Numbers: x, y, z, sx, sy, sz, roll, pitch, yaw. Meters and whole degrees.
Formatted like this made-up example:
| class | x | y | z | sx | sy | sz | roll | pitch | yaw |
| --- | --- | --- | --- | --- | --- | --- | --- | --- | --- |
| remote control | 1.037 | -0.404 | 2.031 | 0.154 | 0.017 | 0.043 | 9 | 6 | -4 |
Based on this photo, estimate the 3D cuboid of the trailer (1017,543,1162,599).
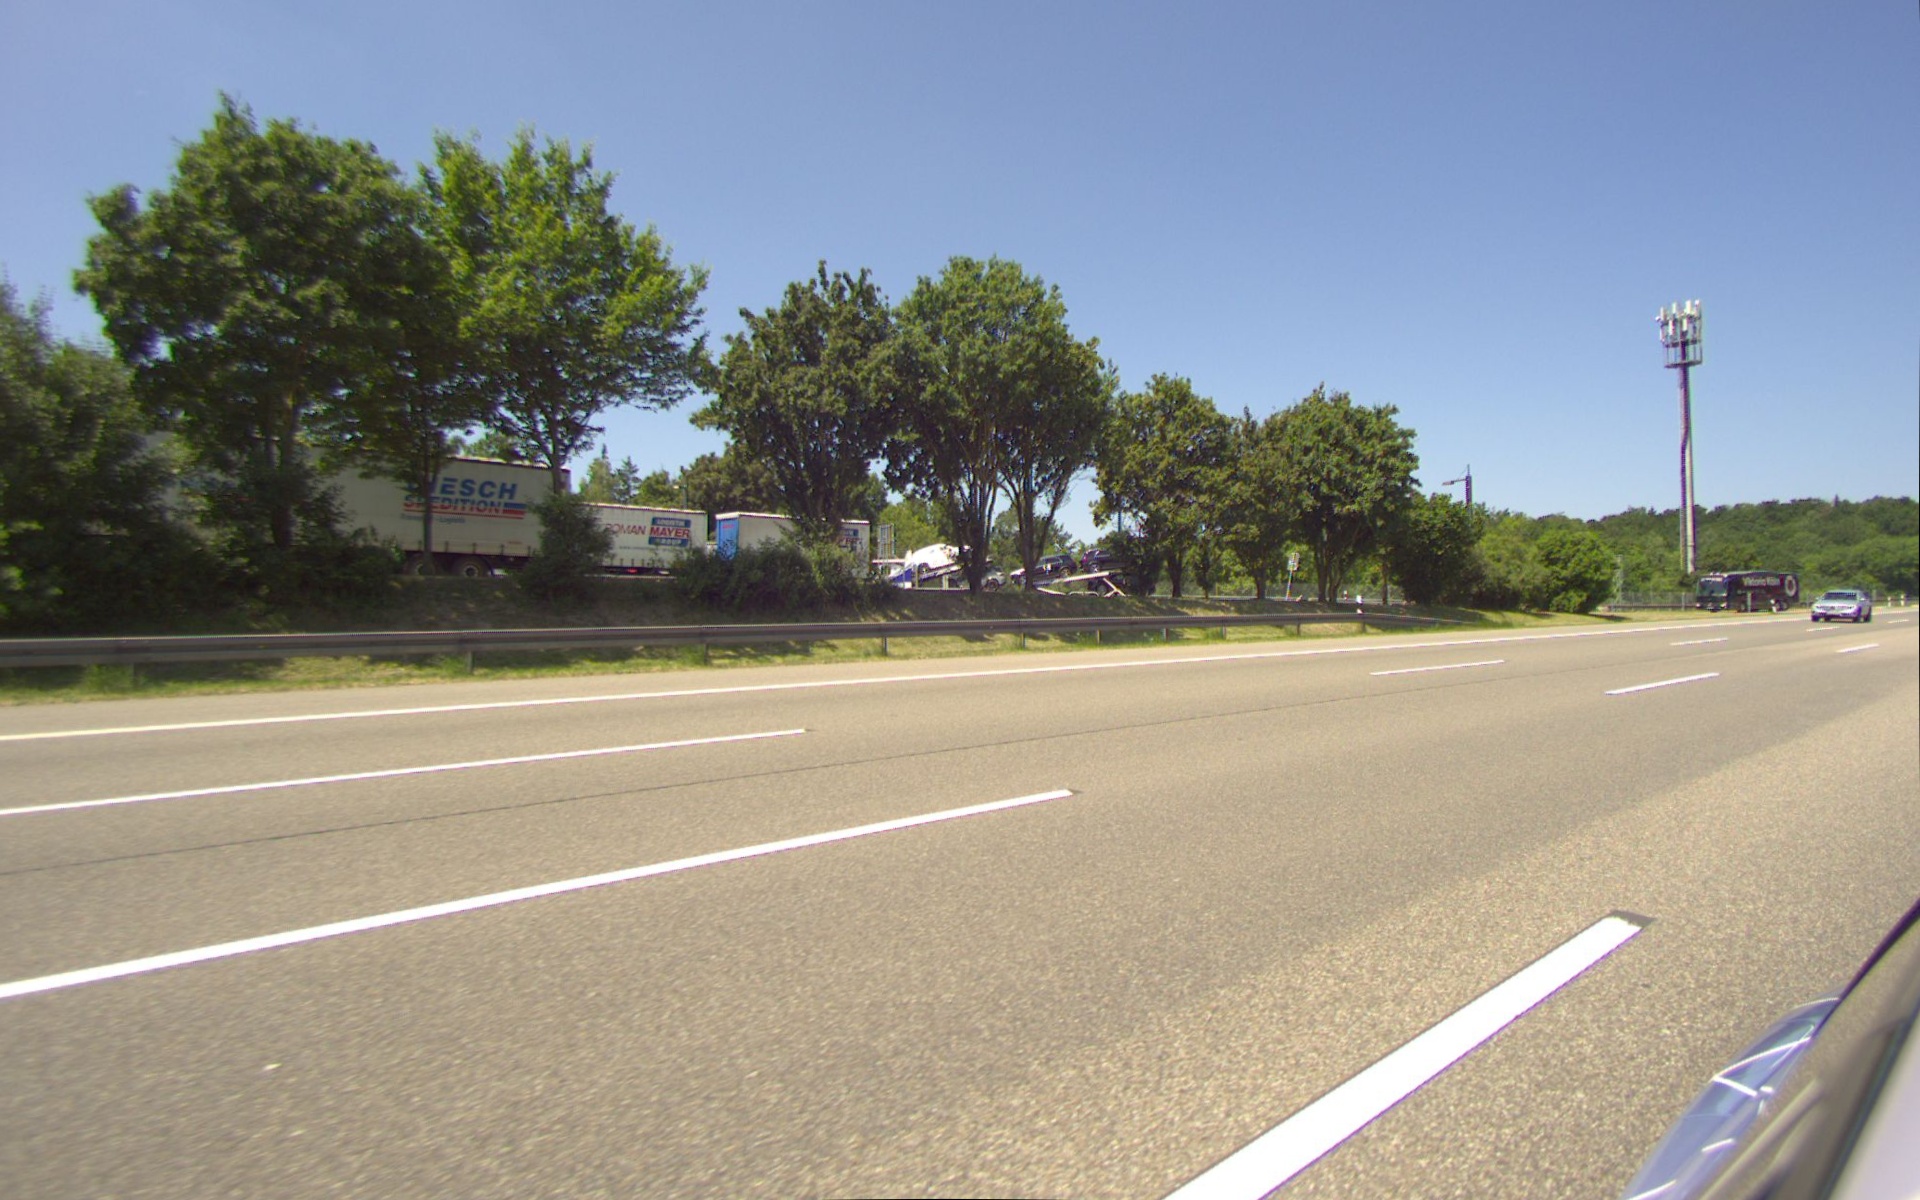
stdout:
| class | x | y | z | sx | sy | sz | roll | pitch | yaw |
| --- | --- | --- | --- | --- | --- | --- | --- | --- | --- |
| trailer | 9.020 | -1.994 | 71.229 | 9.930 | 3.764 | 2.242 | -1 | 0 | 3 |

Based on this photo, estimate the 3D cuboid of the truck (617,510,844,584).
| class | x | y | z | sx | sy | sz | roll | pitch | yaw |
| --- | --- | --- | --- | --- | --- | --- | --- | --- | --- |
| truck | -16.725 | -3.793 | 74.076 | 16.070 | 5.051 | 2.960 | -1 | 0 | 6 |

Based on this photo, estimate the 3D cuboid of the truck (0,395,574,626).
| class | x | y | z | sx | sy | sz | roll | pitch | yaw |
| --- | --- | --- | --- | --- | --- | --- | --- | --- | --- |
| truck | -19.518 | -2.059 | 28.219 | 16.095 | 5.388 | 3.526 | 0 | -1 | -40 |

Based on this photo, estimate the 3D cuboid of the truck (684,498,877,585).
| class | x | y | z | sx | sy | sz | roll | pitch | yaw |
| --- | --- | --- | --- | --- | --- | --- | --- | --- | --- |
| truck | -8.776 | -2.755 | 50.338 | 9.094 | 3.926 | 2.972 | -1 | 0 | -38 |

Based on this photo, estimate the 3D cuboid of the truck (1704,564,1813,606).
| class | x | y | z | sx | sy | sz | roll | pitch | yaw |
| --- | --- | --- | --- | --- | --- | --- | --- | --- | --- |
| truck | 71.468 | -1.376 | 90.462 | 12.073 | 3.616 | 2.758 | -1 | 0 | -27 |

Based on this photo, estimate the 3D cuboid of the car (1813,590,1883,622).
| class | x | y | z | sx | sy | sz | roll | pitch | yaw |
| --- | --- | --- | --- | --- | --- | --- | --- | --- | --- |
| car | 45.103 | 0.292 | 51.383 | 3.927 | 1.549 | 1.998 | 0 | 1 | -38 |

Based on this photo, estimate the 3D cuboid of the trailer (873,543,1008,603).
| class | x | y | z | sx | sy | sz | roll | pitch | yaw |
| --- | --- | --- | --- | --- | --- | --- | --- | --- | --- |
| trailer | -1.340 | -1.918 | 71.722 | 9.422 | 4.087 | 2.313 | 1 | 0 | 4 |

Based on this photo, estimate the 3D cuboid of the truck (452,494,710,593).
| class | x | y | z | sx | sy | sz | roll | pitch | yaw |
| --- | --- | --- | --- | --- | --- | --- | --- | --- | --- |
| truck | -16.359 | -2.326 | 44.373 | 10.198 | 3.904 | 2.941 | -1 | 0 | -38 |
